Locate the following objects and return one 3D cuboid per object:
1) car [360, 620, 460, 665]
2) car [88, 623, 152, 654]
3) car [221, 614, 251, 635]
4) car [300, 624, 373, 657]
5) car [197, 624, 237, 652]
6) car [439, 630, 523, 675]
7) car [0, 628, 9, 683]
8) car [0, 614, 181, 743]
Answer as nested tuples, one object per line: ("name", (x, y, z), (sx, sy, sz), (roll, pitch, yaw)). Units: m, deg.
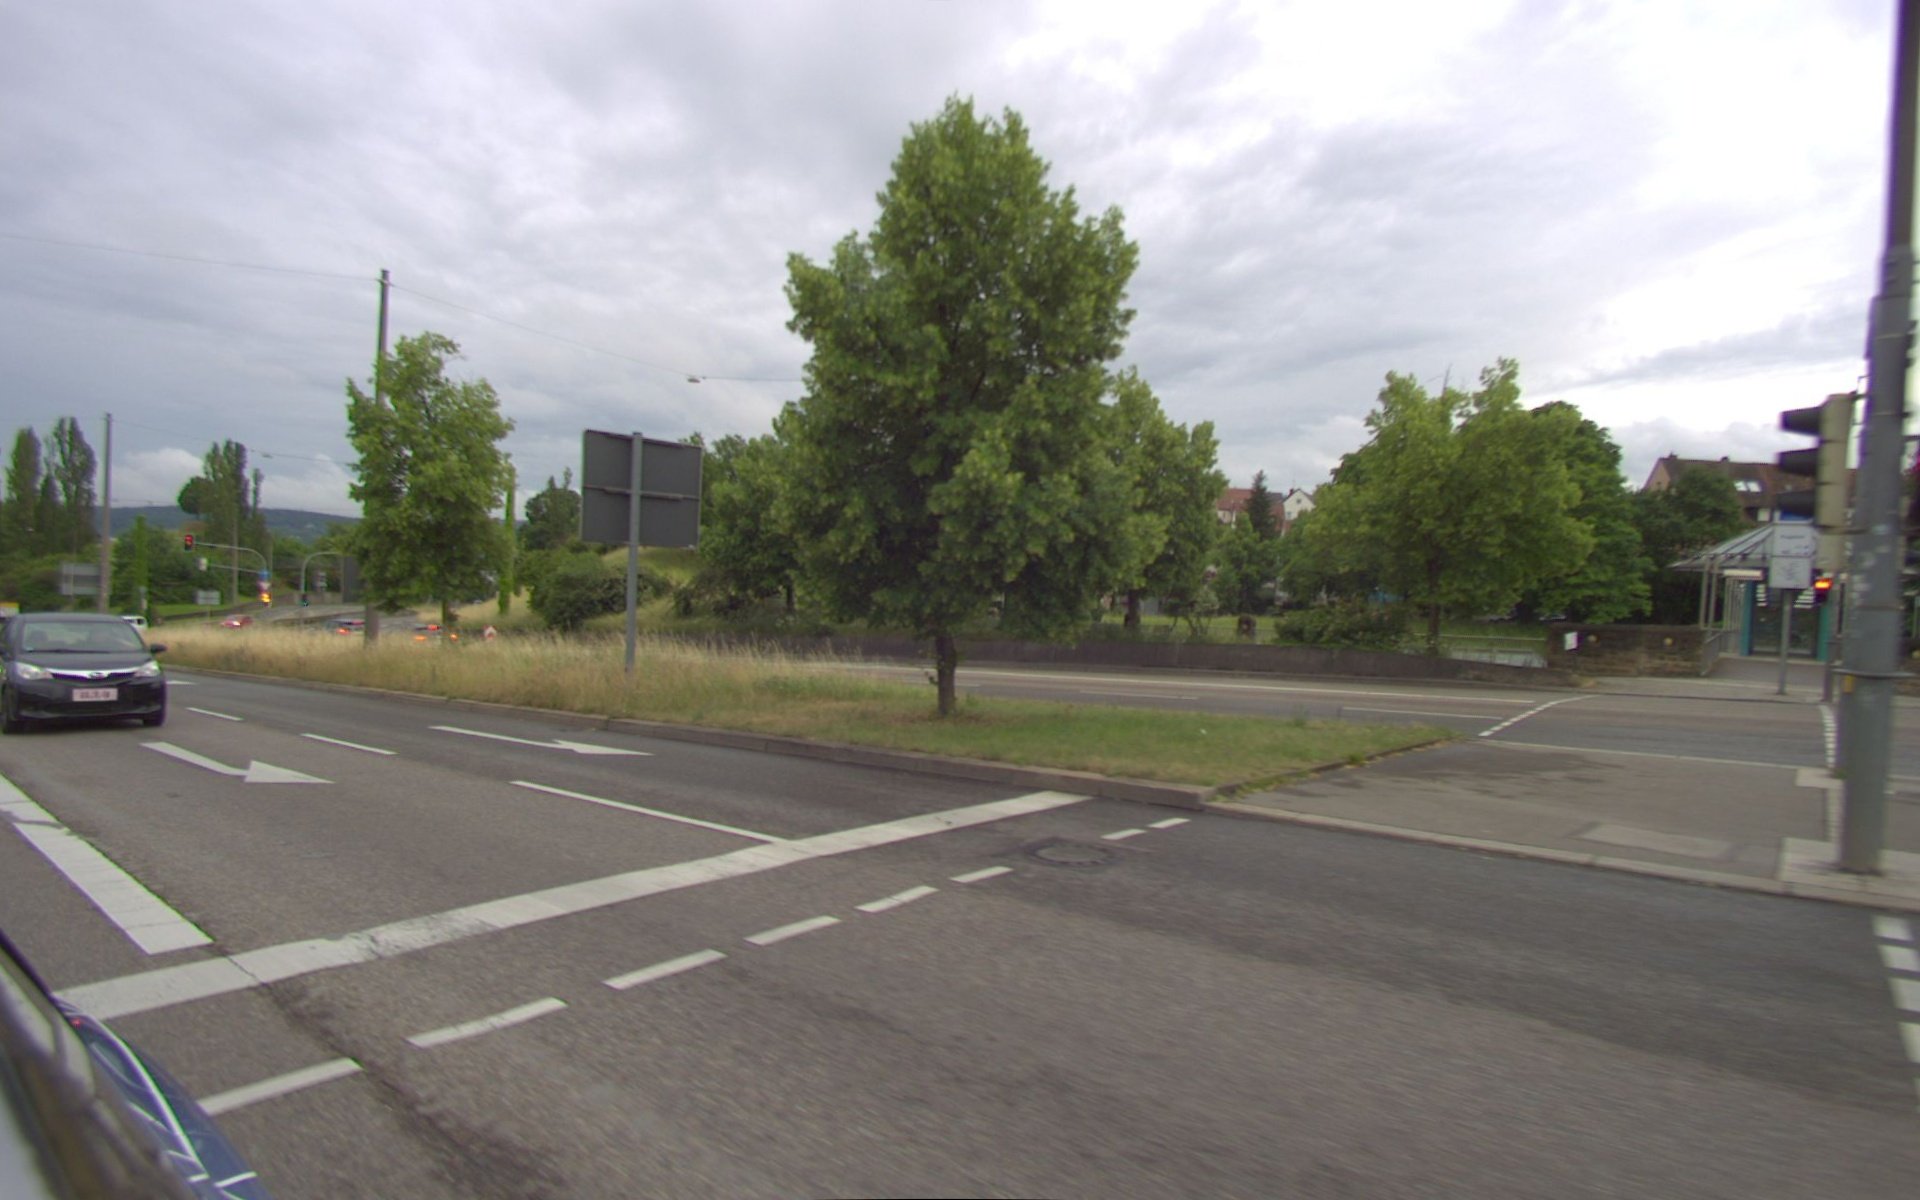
("car", (-21.492, 1.641, 39.490), (4.013, 1.652, 1.975), (-2, -2, 38))
("car", (-59.832, 2.721, 72.179), (1.966, 2.029, 4.011), (-2, -2, -14))
("car", (-73.368, 2.542, 102.648), (1.965, 2.029, 4.012), (0, -3, -28))
("car", (-31.607, 2.031, 51.297), (3.994, 1.632, 1.844), (-2, -2, 38))
("car", (-58.489, 3.006, 79.695), (1.966, 2.029, 4.012), (-2, -2, -28))
("car", (-23.078, 2.527, 48.726), (3.992, 2.029, 1.976), (0, -3, 36))
("car", (-26.947, 1.492, 27.149), (1.971, 1.418, 4.527), (-1, -1, -45))
("car", (-12.692, 1.025, 14.402), (4.041, 1.577, 1.777), (-1, -3, 41))
